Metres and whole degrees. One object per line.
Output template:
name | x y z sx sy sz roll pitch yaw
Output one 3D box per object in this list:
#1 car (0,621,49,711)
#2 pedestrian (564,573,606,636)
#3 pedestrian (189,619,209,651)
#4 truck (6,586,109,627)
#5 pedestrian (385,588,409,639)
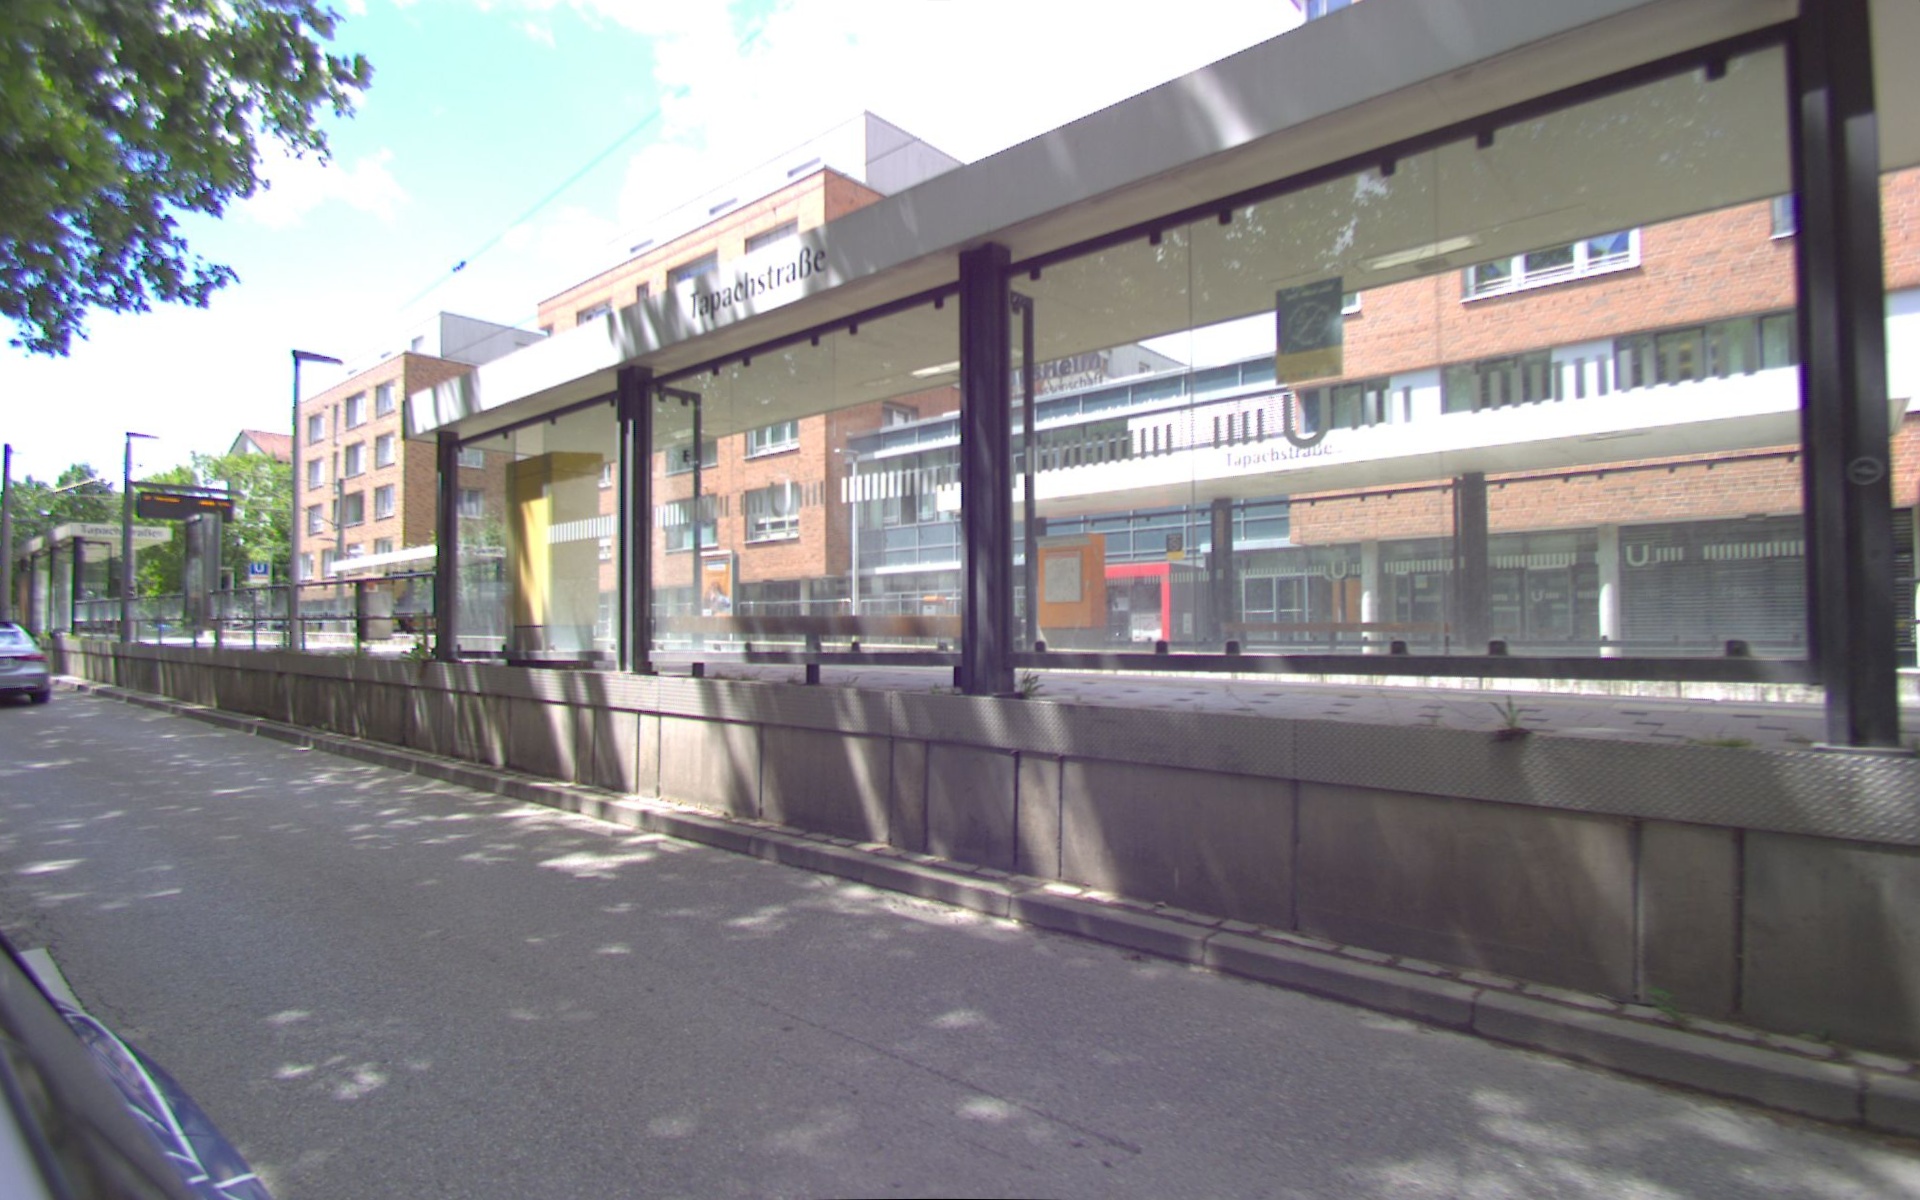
car | -17.938 1.158 18.188 4.573 1.492 1.744 -1 0 40
pedestrian | -9.910 0.120 26.754 0.815 1.641 0.743 -2 -1 41
pedestrian | -43.949 2.005 58.456 0.828 1.839 0.736 -2 -3 40
truck | -96.394 0.775 108.357 2.593 4.124 9.610 0 -2 -1
pedestrian | -19.989 0.477 35.933 0.527 1.777 0.529 -1 -2 38
